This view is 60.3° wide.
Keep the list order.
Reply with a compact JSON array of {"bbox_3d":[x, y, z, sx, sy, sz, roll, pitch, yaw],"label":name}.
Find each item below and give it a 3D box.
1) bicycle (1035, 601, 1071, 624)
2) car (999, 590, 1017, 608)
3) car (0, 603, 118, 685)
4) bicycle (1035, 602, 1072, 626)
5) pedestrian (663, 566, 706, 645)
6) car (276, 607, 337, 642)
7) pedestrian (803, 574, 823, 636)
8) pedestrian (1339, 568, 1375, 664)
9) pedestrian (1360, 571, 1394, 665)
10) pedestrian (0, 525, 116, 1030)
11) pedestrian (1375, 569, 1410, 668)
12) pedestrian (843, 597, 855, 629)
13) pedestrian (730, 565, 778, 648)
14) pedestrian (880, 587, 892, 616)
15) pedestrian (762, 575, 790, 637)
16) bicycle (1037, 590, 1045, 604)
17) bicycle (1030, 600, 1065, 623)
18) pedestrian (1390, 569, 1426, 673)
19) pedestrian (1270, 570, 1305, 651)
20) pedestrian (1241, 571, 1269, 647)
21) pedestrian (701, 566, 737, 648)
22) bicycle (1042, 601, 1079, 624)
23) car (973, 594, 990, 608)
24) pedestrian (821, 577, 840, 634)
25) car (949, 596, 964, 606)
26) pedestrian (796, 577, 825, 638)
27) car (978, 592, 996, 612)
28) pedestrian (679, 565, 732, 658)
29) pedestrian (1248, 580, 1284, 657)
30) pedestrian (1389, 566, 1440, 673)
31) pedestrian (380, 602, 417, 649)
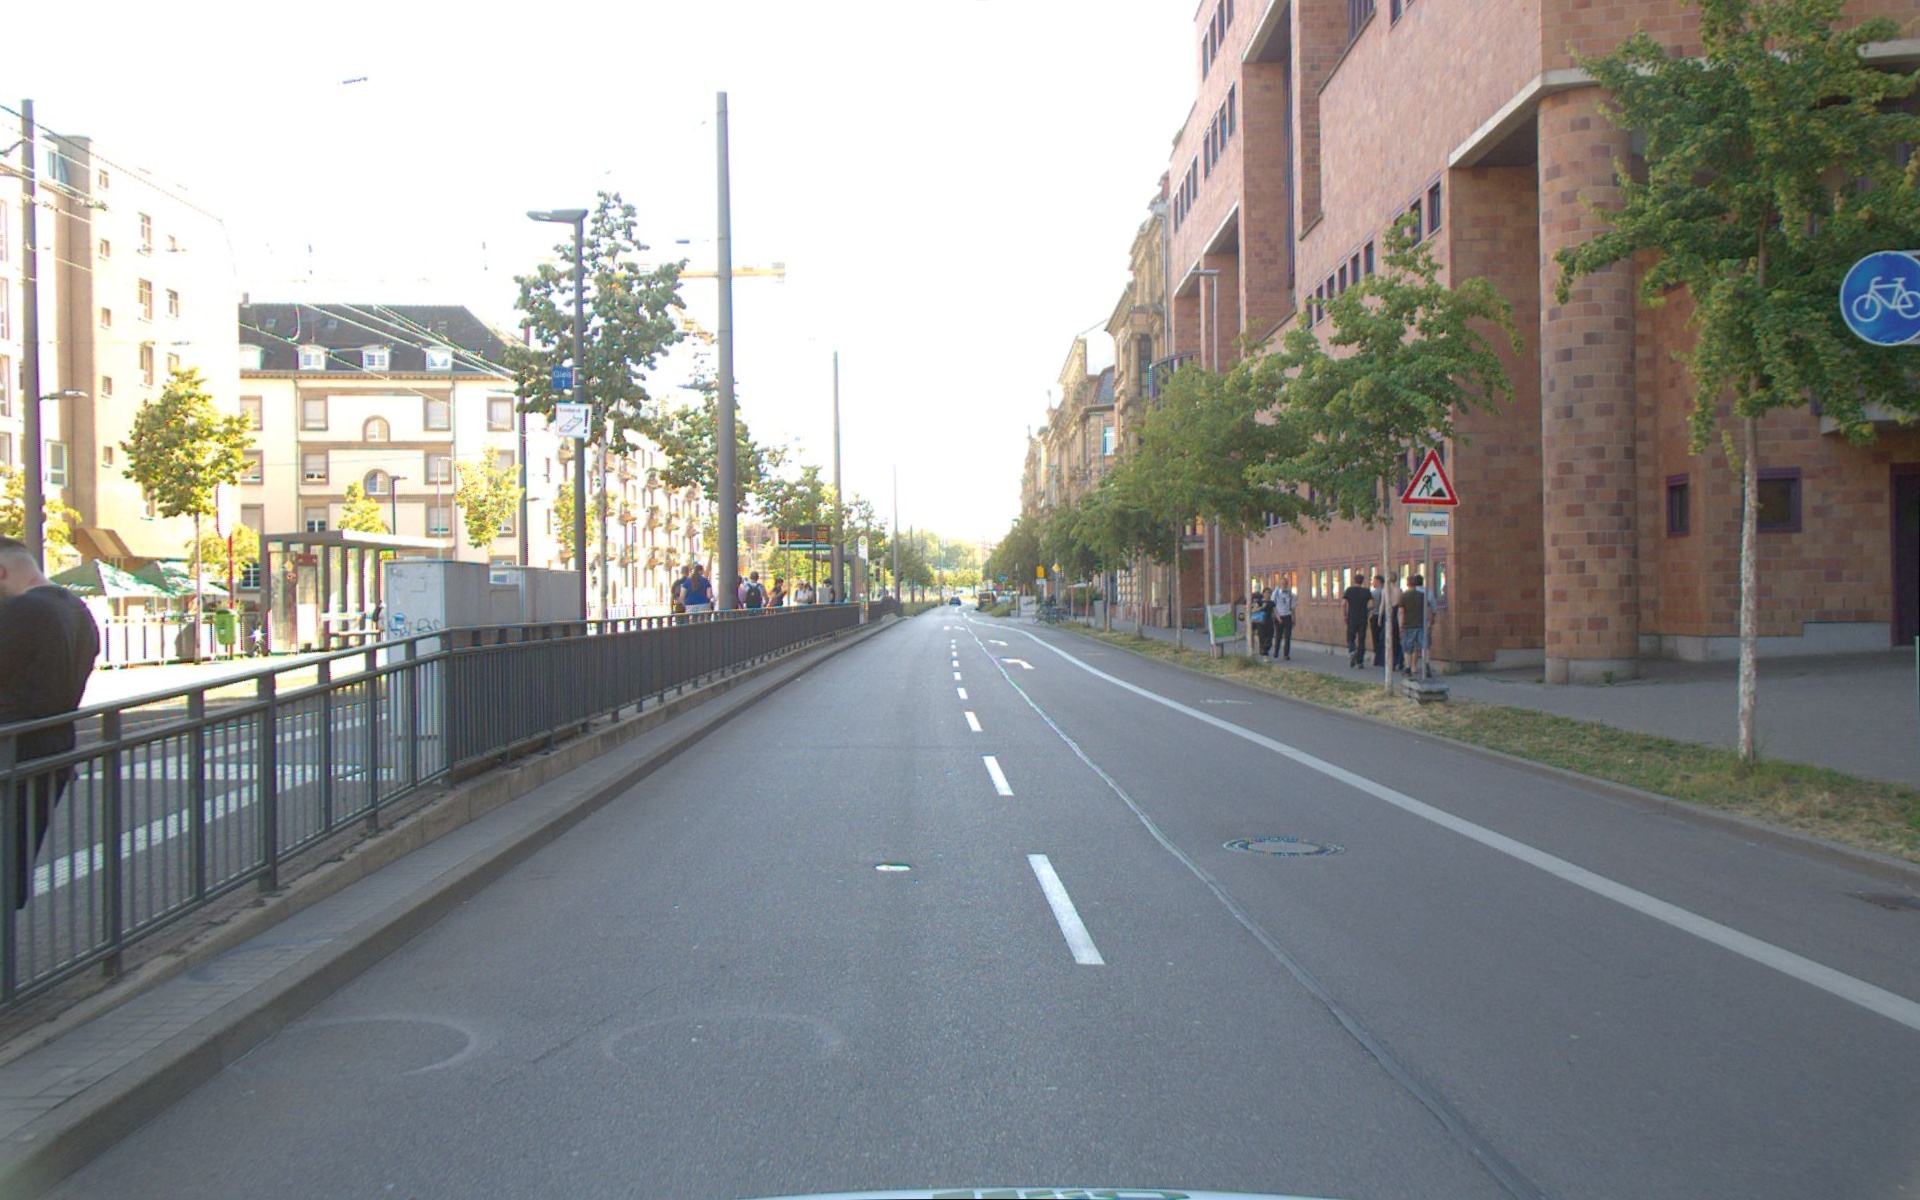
[{"bbox_3d":[4.975,0.652,88.671,1.790,1.083,0.663,-4,1,-5],"label":"bicycle"},{"bbox_3d":[4.569,-0.080,156.135,1.603,1.511,4.213,-3,1,2],"label":"car"},{"bbox_3d":[-23.621,1.085,42.241,1.847,1.899,4.317,-1,1,2],"label":"car"},{"bbox_3d":[4.856,0.709,85.913,1.790,1.083,0.663,-4,1,-5],"label":"bicycle"},{"bbox_3d":[-5.345,0.107,32.103,0.668,1.509,0.829,-1,0,1],"label":"pedestrian"},{"bbox_3d":[-33.289,1.205,84.358,1.801,1.612,4.152,-1,1,-5],"label":"car"},{"bbox_3d":[-4.278,0.145,48.108,0.494,1.762,0.651,-1,0,-1],"label":"pedestrian"},{"bbox_3d":[7.507,0.293,31.286,0.525,1.787,0.464,-1,0,-2],"label":"pedestrian"},{"bbox_3d":[8.050,0.347,31.932,0.525,1.787,0.422,-1,0,-1],"label":"pedestrian"},{"bbox_3d":[-3.167,0.551,5.383,0.479,1.565,0.552,-1,0,14],"label":"pedestrian"},{"bbox_3d":[7.888,0.336,30.156,0.525,1.787,0.696,-1,0,10],"label":"pedestrian"},{"bbox_3d":[-4.246,0.507,63.169,0.399,1.211,0.428,-1,0,-13],"label":"pedestrian"},{"bbox_3d":[-4.326,0.127,34.820,0.870,1.701,1.095,-1,0,-2],"label":"pedestrian"},{"bbox_3d":[-4.313,0.106,96.569,0.641,1.671,0.867,0,-1,0],"label":"pedestrian"},{"bbox_3d":[-5.310,0.176,47.793,0.705,1.762,0.651,-1,0,-1],"label":"pedestrian"},{"bbox_3d":[8.802,-0.353,179.230,0.647,1.427,2.352,-1,1,-1],"label":"bicycle"},{"bbox_3d":[4.754,0.629,90.143,1.790,1.083,0.663,-4,1,-5],"label":"bicycle"},{"bbox_3d":[7.826,0.361,28.915,0.525,1.787,0.696,-1,0,10],"label":"pedestrian"},{"bbox_3d":[7.132,0.218,36.082,0.560,1.743,0.640,-1,0,-6],"label":"pedestrian"},{"bbox_3d":[6.977,0.216,39.140,0.526,1.787,0.421,-1,0,-10],"label":"pedestrian"},{"bbox_3d":[-5.101,0.138,35.013,0.643,1.701,0.672,-1,0,-2],"label":"pedestrian"},{"bbox_3d":[5.300,0.672,87.288,1.790,1.083,0.663,-4,1,-5],"label":"bicycle"},{"bbox_3d":[2.463,0.129,185.850,1.811,1.483,4.157,-1,1,1],"label":"car"},{"bbox_3d":[-3.928,0.165,50.178,0.494,1.708,0.651,-1,0,-1],"label":"pedestrian"},{"bbox_3d":[-0.573,0.099,250.548,1.759,1.489,4.003,-1,0,7],"label":"car"},{"bbox_3d":[-4.005,0.202,44.397,0.659,1.589,0.906,-1,0,-1],"label":"pedestrian"},{"bbox_3d":[2.848,0.203,172.746,1.846,1.971,4.474,0,1,1],"label":"car"},{"bbox_3d":[-4.767,0.208,31.046,0.870,1.701,0.672,-1,0,-2],"label":"pedestrian"},{"bbox_3d":[6.564,0.399,35.511,0.507,1.633,0.702,-1,0,-13],"label":"pedestrian"},{"bbox_3d":[7.702,0.330,28.077,0.717,1.787,0.696,-1,0,8],"label":"pedestrian"},{"bbox_3d":[-14.789,0.663,43.582,0.659,1.210,0.906,-1,0,-1],"label":"pedestrian"}]
